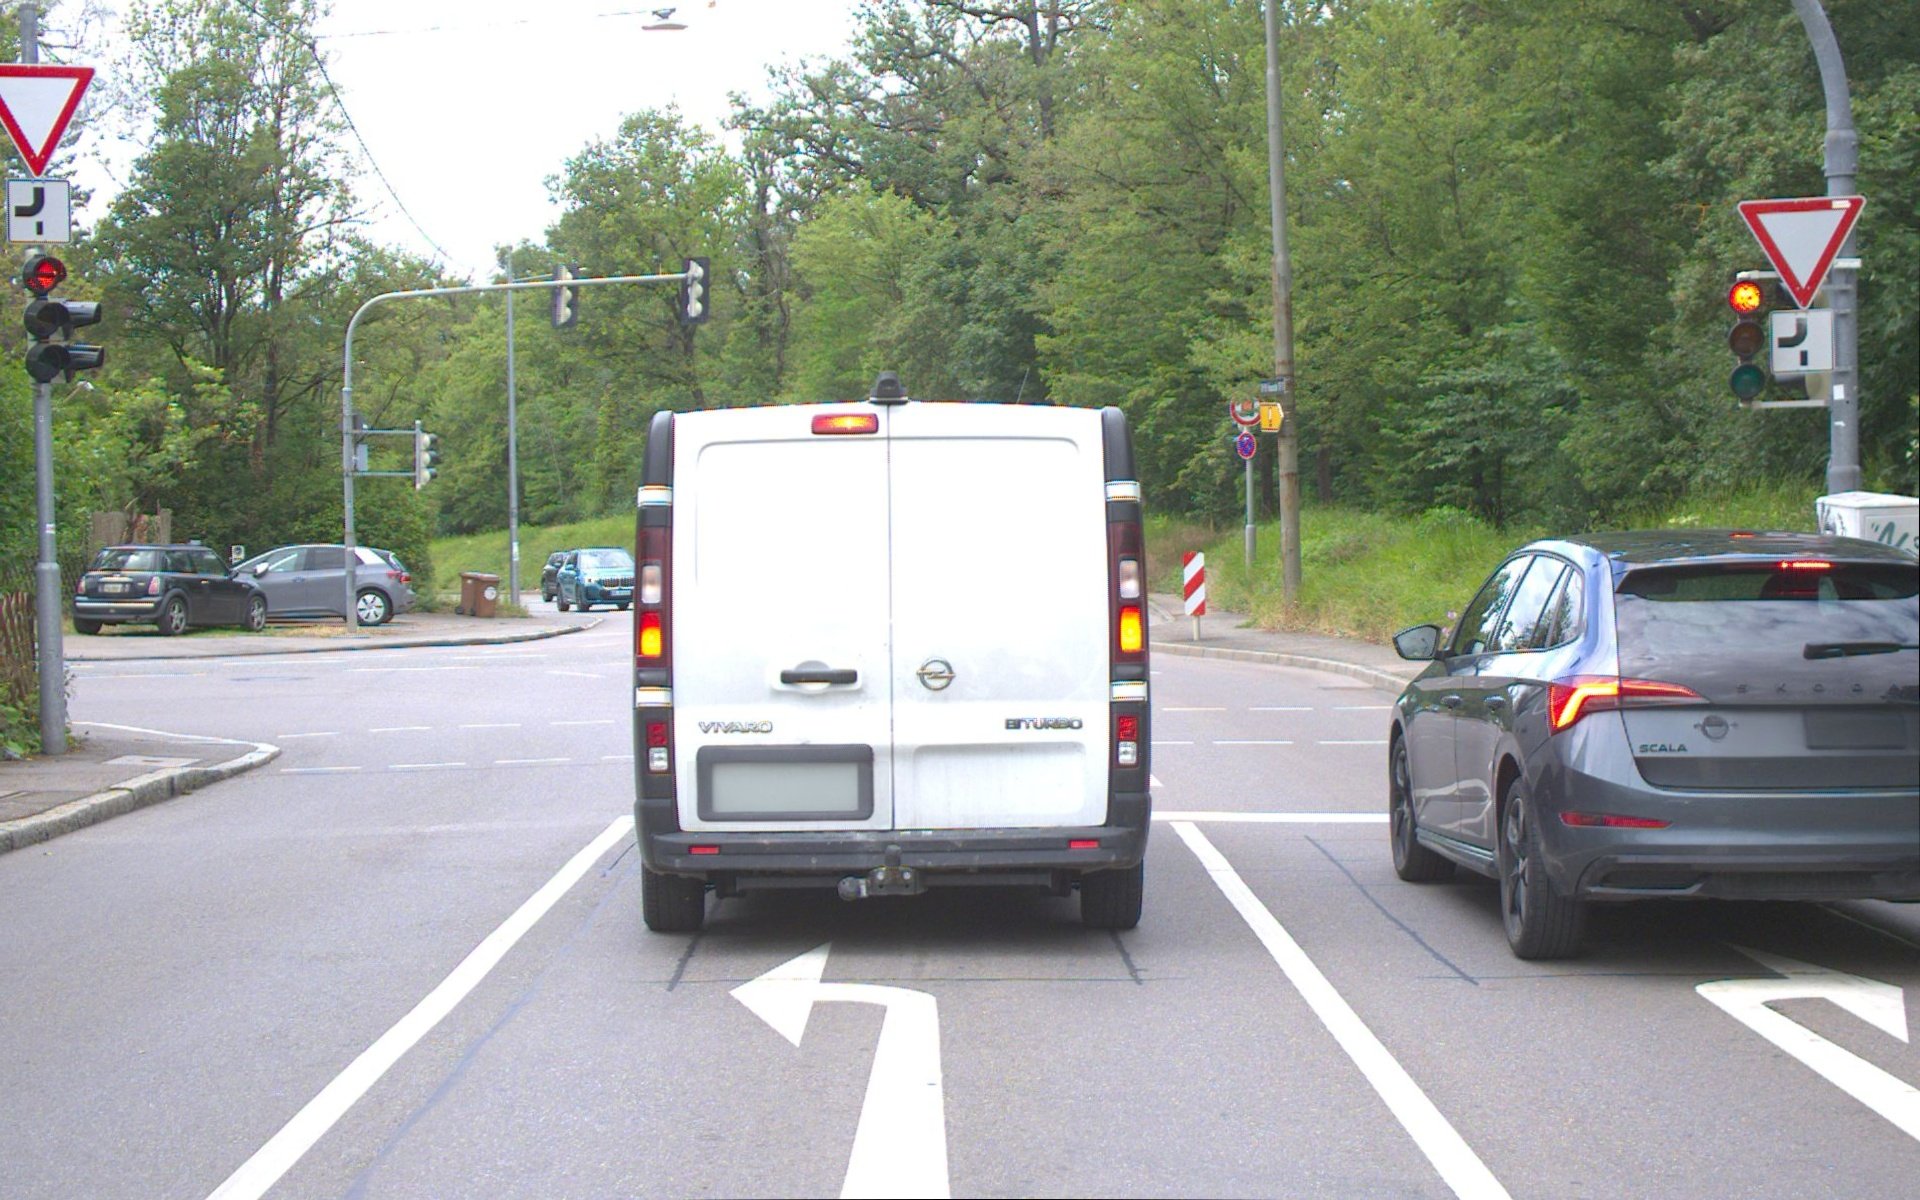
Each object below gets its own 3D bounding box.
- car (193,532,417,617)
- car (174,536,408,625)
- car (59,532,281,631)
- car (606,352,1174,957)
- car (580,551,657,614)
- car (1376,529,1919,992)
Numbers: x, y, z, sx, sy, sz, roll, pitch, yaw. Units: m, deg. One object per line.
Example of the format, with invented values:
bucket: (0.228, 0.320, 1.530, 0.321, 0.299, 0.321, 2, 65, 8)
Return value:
car: (-12.720, -0.508, 66.690, 4.085, 1.548, 1.855, -1, 2, -17)
car: (-12.411, -0.374, 63.727, 4.085, 1.548, 1.855, -1, 2, -17)
car: (-12.239, -0.302, 53.442, 1.699, 1.444, 3.540, 2, 1, 20)
car: (-0.338, 0.141, 14.115, 1.916, 2.046, 4.615, 1, 1, -2)
car: (-8.751, -0.477, 88.248, 1.856, 1.501, 4.001, -1, 1, -4)
car: (2.700, 0.469, 12.899, 1.792, 1.445, 4.000, -1, 1, 0)
